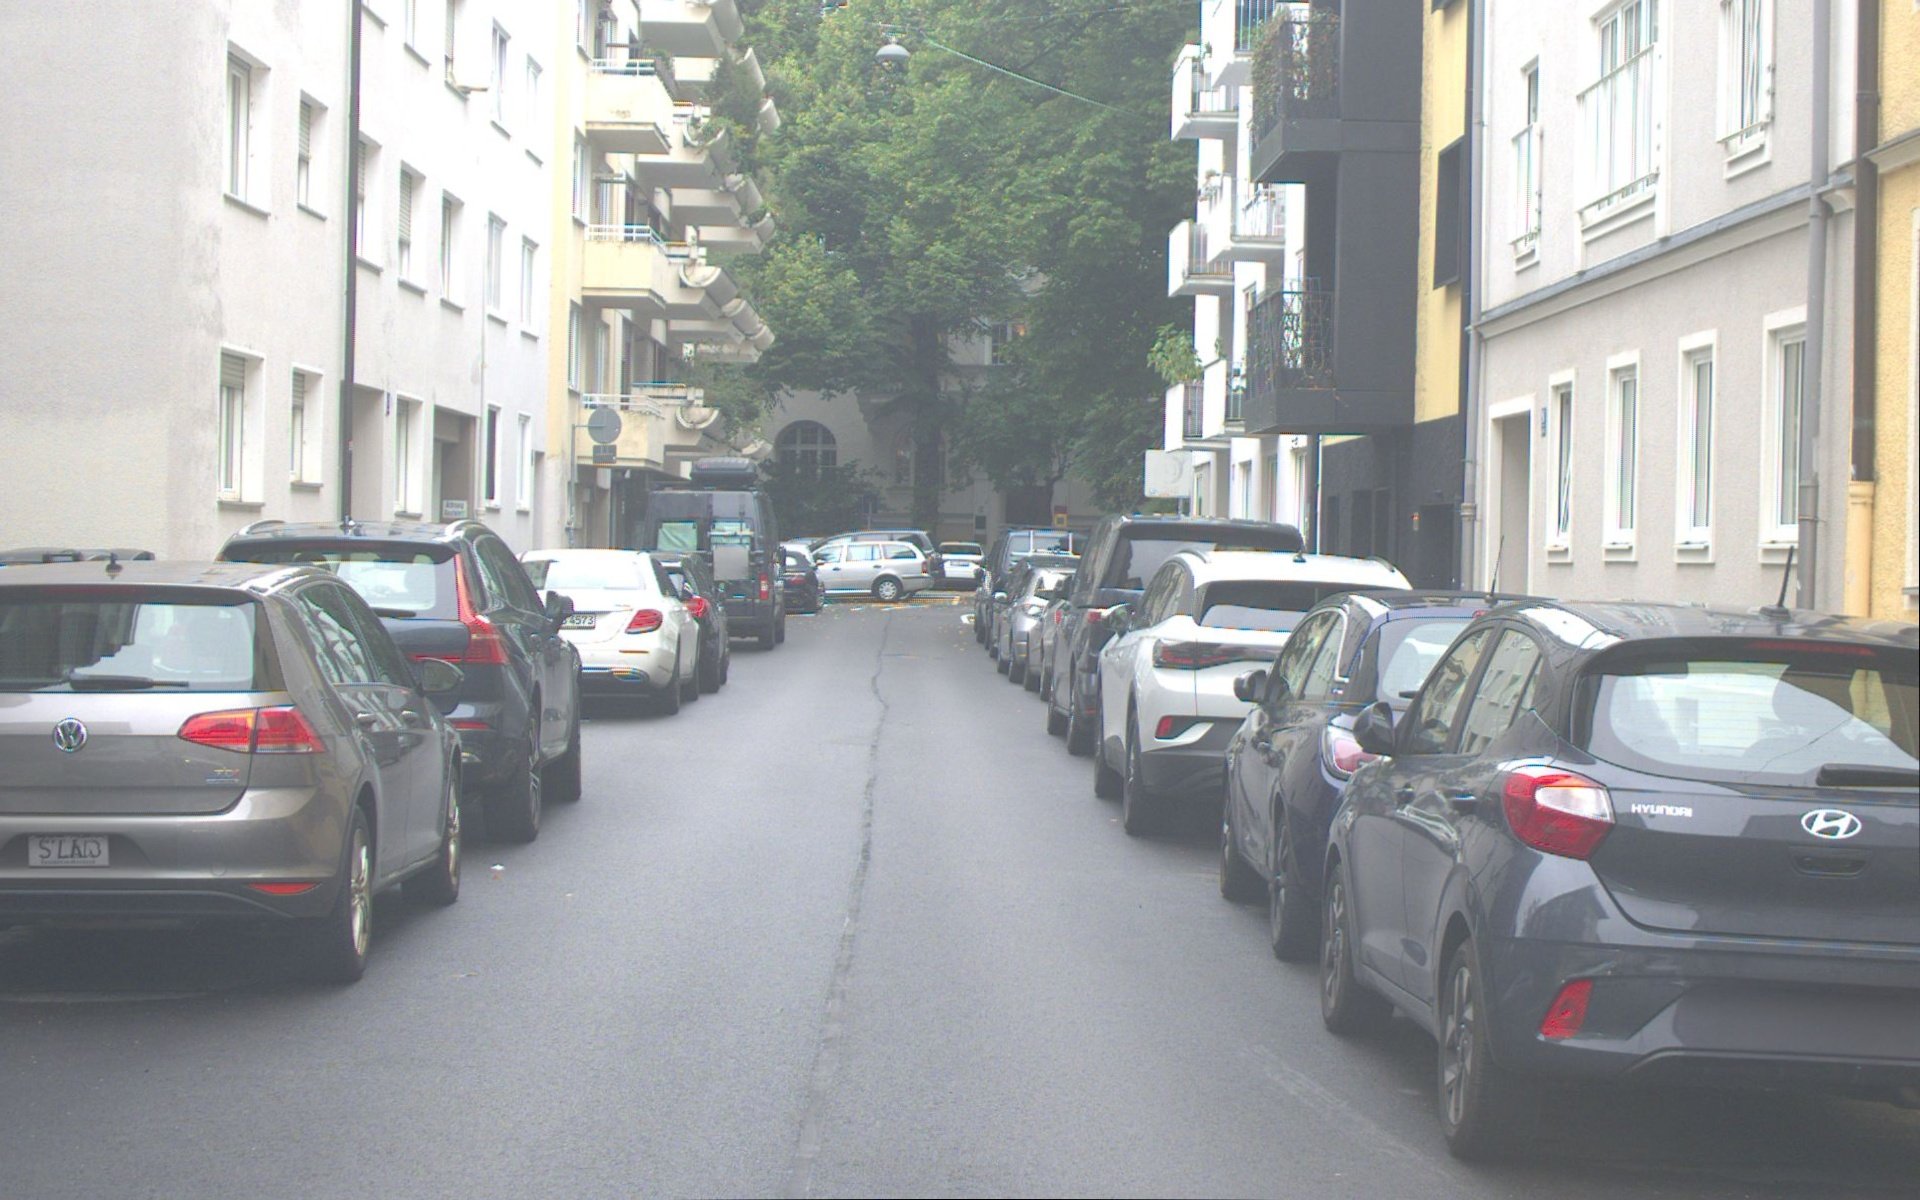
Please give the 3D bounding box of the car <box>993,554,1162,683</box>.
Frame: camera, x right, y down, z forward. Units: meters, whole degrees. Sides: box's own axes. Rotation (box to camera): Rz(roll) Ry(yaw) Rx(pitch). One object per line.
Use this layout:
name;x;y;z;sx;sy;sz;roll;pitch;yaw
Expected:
car;1.479;0.202;44.879;1.829;1.449;4.416;4;1;-2

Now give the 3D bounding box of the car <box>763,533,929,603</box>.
car;-2.729;-0.777;82.306;3.885;1.579;1.648;-1;1;-2

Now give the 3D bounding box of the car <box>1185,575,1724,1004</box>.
car;1.993;0.702;14.891;1.664;1.464;3.819;4;1;0

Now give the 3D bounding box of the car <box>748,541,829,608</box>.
car;-3.692;-0.567;74.311;1.642;1.379;3.483;-1;1;-1

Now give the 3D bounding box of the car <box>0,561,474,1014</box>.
car;-2.904;0.588;13.136;1.693;1.437;3.978;0;1;-3

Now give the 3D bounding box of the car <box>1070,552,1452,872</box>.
car;1.670;0.566;20.461;1.682;1.562;4.416;4;1;-1

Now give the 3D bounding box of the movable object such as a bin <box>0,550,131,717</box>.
movable object such as a bin;-7.516;0.266;28.141;1.166;1.332;1.025;-1;1;2

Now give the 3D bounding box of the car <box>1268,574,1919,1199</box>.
car;2.128;0.738;10.660;1.751;1.464;4.343;4;1;-2

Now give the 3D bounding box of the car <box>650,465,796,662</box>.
car;-3.519;-0.566;51.714;1.936;2.792;4.533;-1;1;-1

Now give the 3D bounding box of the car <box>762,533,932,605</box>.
car;-2.638;-0.741;80.364;3.885;1.579;1.648;-1;1;-2

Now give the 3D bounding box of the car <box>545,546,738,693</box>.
car;-3.383;0.164;37.138;1.776;1.448;4.046;-1;1;-1

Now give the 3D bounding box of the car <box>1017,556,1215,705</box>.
car;1.712;0.300;39.017;1.829;1.449;4.416;4;1;-2

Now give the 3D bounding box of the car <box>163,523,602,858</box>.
car;-3.034;0.399;18.904;1.776;1.623;4.415;0;1;-2

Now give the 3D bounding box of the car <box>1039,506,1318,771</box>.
car;1.700;0.250;28.155;1.829;1.903;4.416;3;1;-1

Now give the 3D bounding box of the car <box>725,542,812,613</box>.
car;-3.894;-0.487;70.410;1.642;1.379;3.483;-1;1;-1

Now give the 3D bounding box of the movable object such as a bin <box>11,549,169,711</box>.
movable object such as a bin;-7.383;0.244;29.219;1.047;1.332;0.993;-1;1;2

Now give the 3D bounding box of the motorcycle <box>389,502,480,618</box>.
motorcycle;-6.380;-0.497;41.811;0.680;1.345;2.486;2;1;0

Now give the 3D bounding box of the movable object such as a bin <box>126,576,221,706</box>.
movable object such as a bin;-6.418;0.331;28.082;0.650;1.017;0.585;3;1;-7

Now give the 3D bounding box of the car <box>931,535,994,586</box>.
car;0.056;-1.142;97.326;1.642;1.379;3.746;-1;1;-1

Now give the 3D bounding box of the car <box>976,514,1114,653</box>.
car;1.300;-0.293;54.665;1.829;1.992;4.416;4;1;-2

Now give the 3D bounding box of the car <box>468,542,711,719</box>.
car;-3.367;0.223;31.987;1.776;1.482;4.519;-1;1;0
